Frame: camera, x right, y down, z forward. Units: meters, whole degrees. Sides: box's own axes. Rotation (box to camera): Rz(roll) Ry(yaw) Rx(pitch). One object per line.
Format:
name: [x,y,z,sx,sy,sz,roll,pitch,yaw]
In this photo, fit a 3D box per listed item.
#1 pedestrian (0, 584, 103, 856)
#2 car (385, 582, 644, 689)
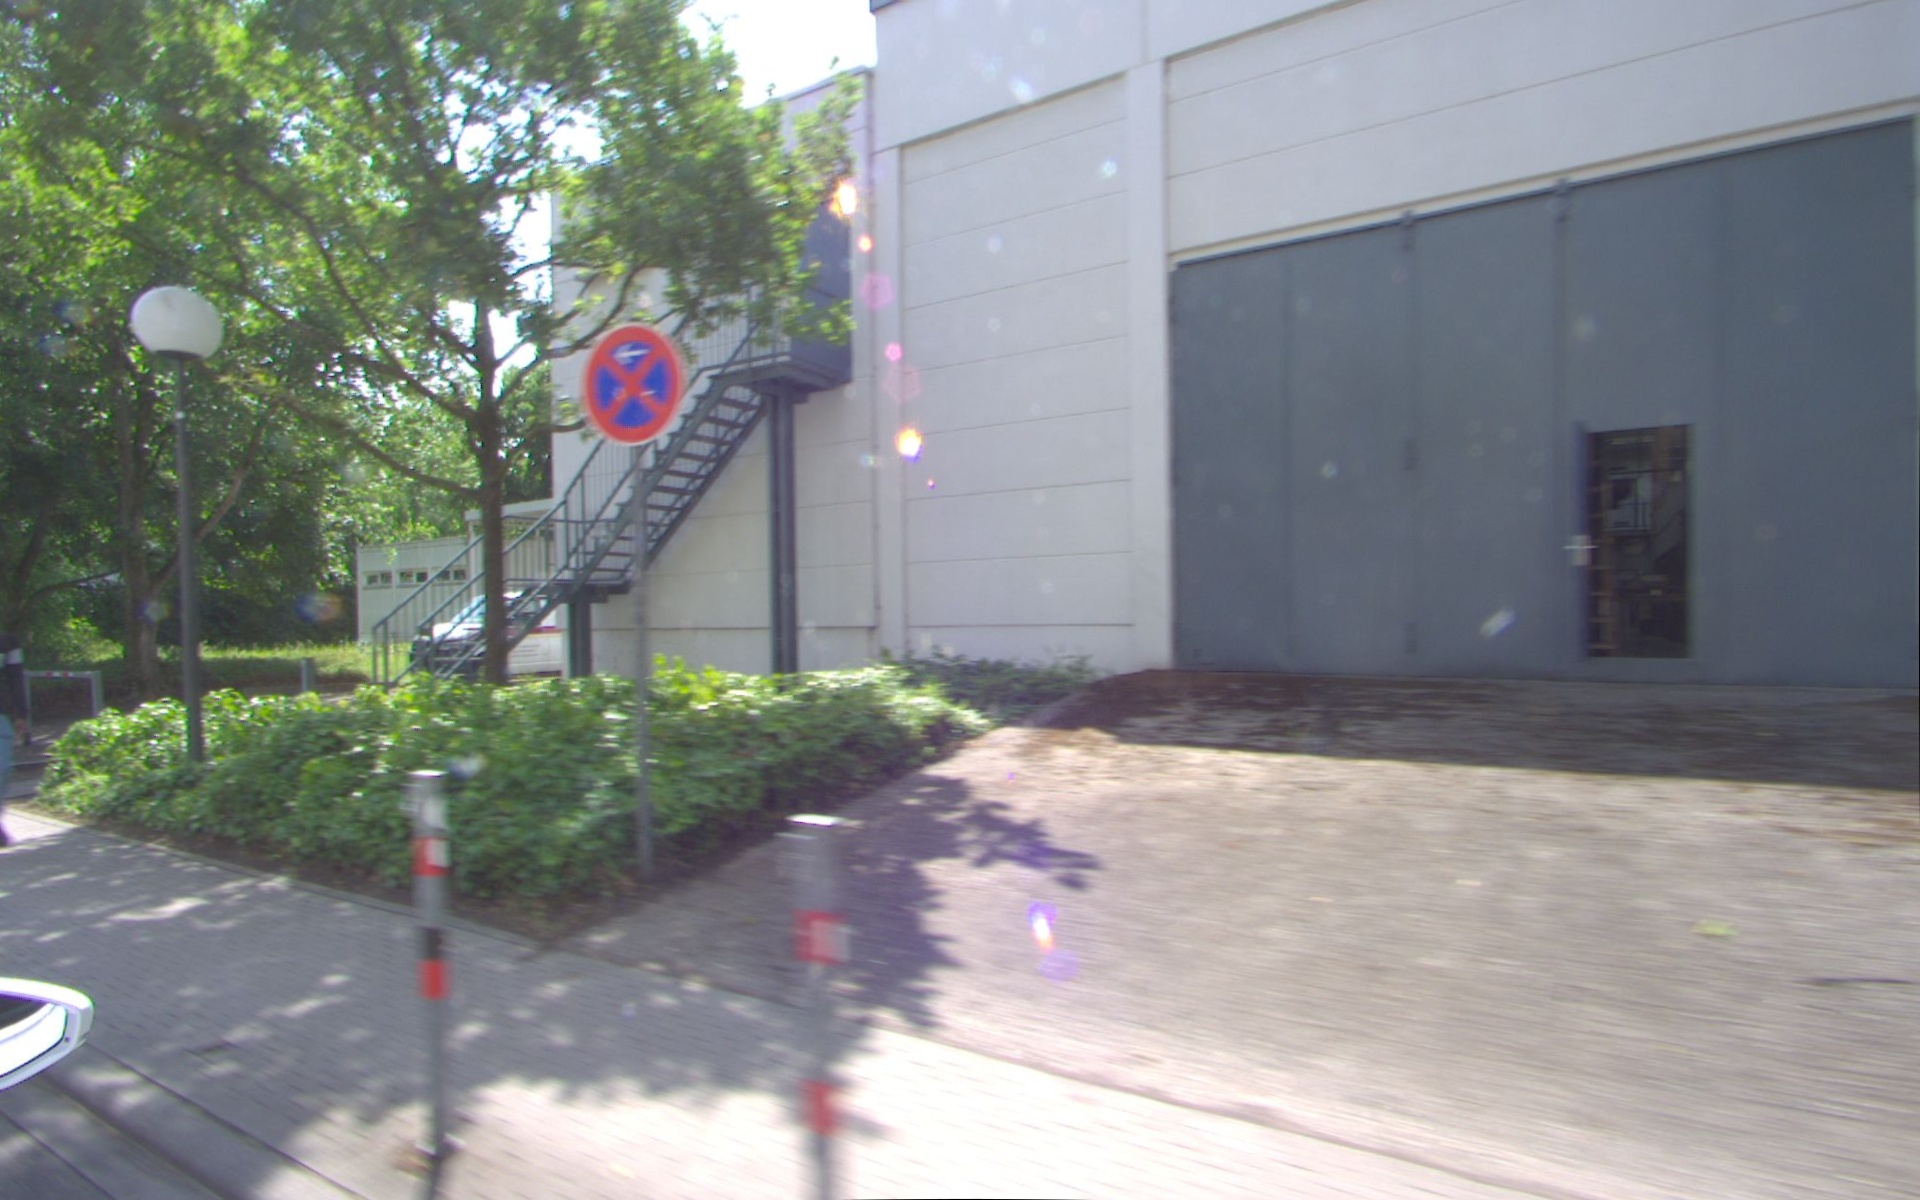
pedestrian: [-6.452,0.759,6.673,1.237,1.696,0.738,-1,0,29]
car: [-9.475,0.705,21.717,2.033,2.040,4.814,-1,0,33]
